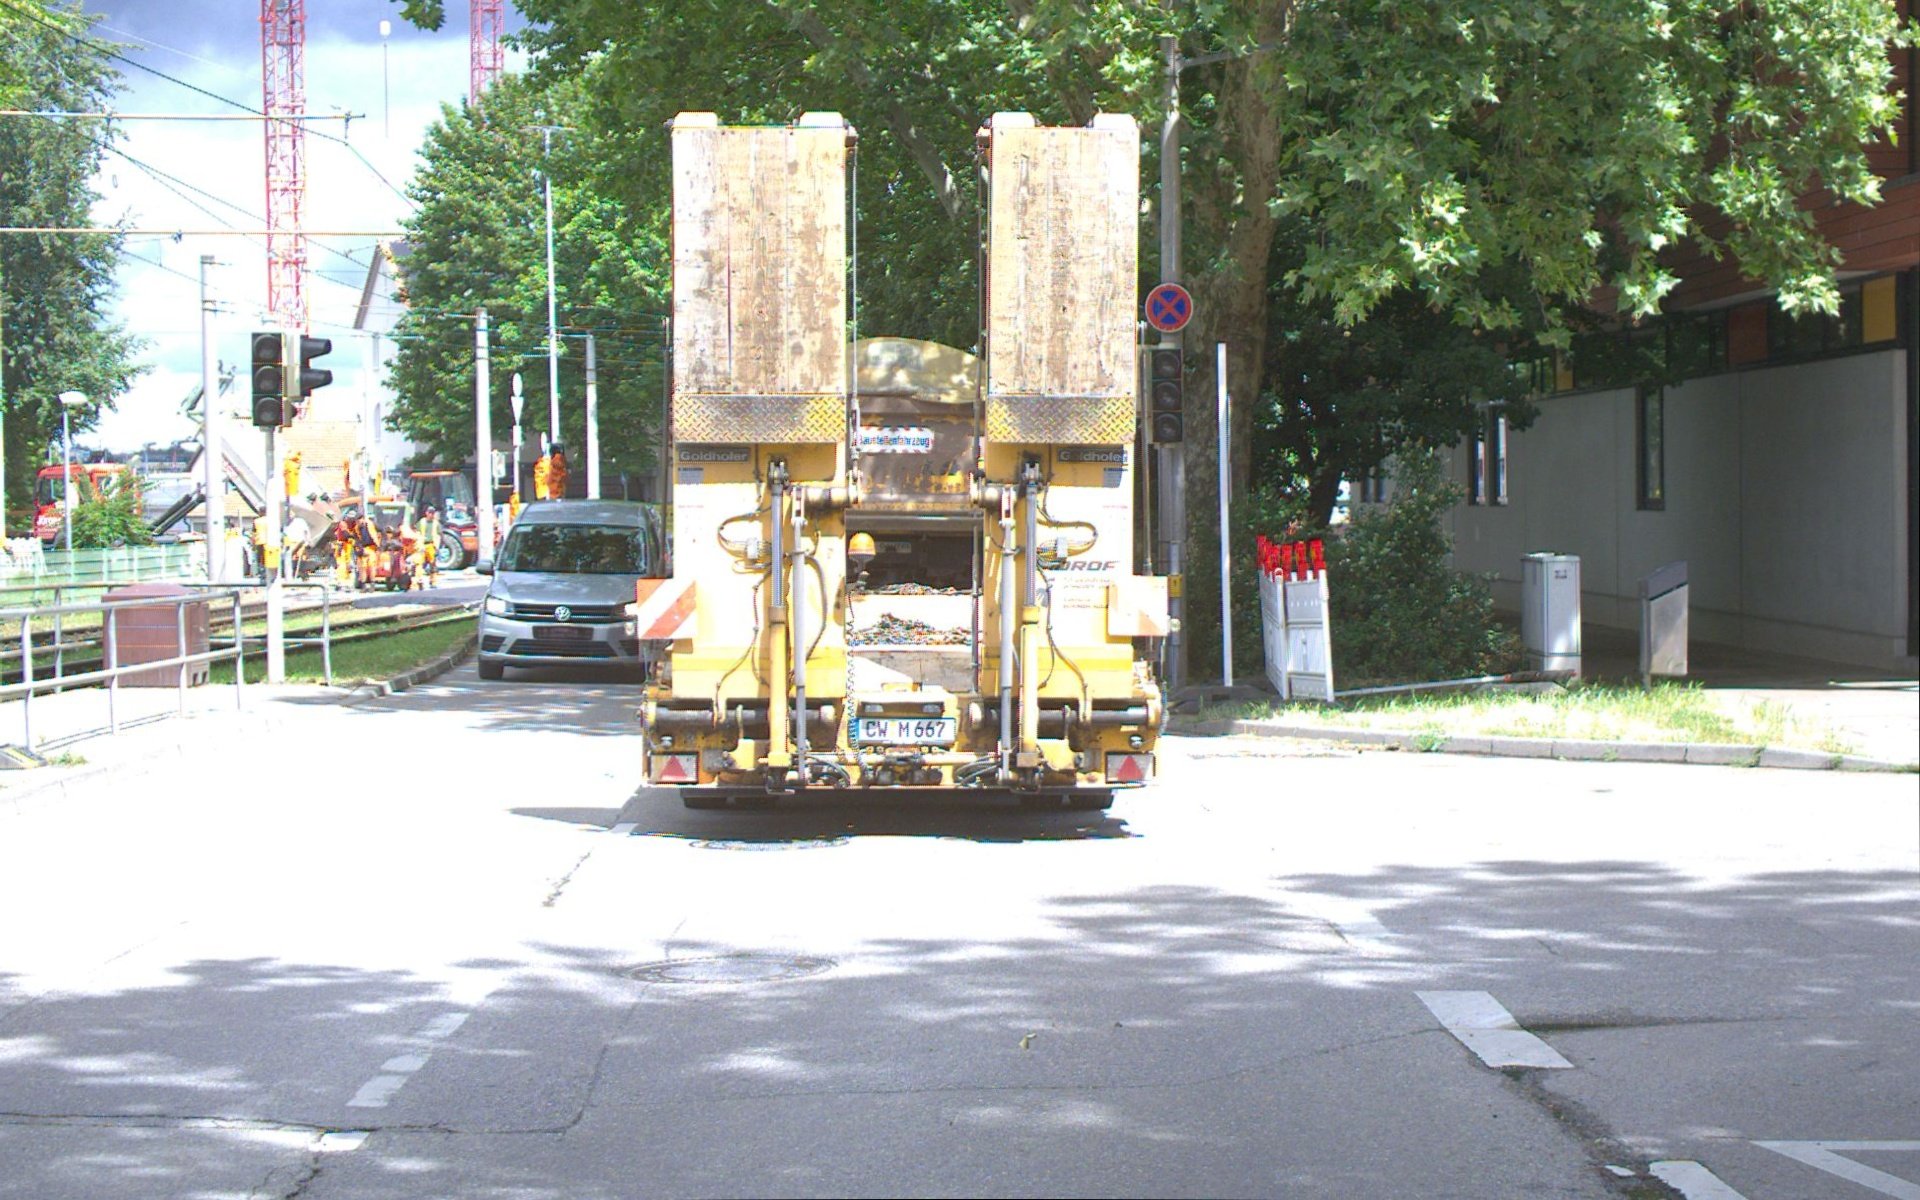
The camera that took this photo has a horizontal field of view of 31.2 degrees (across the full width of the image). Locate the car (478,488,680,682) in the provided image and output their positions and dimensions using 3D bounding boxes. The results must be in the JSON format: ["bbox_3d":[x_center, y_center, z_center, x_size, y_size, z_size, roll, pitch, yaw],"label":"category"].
[{"bbox_3d":[-3.861,-0.186,35.449,1.753,1.834,4.647,1,1,-3],"label":"car"}]

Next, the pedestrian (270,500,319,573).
[{"bbox_3d":[-15.144,-1.442,78.239,0.885,1.639,0.837,0,1,-29],"label":"pedestrian"}]

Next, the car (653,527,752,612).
[{"bbox_3d":[-4.471,-0.559,60.050,1.635,1.430,3.852,0,1,-3],"label":"car"}]

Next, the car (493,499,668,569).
[{"bbox_3d":[-11.624,-2.023,105.176,5.088,2.095,1.977,0,1,-15],"label":"car"}]

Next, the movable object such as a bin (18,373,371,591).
[{"bbox_3d":[-19.708,-3.014,88.317,9.215,5.396,2.660,1,1,26],"label":"movable object such as a bin"}]

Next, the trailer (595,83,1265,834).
[{"bbox_3d":[-0.362,-0.770,21.884,3.154,3.540,11.098,0,1,-2],"label":"trailer"}]

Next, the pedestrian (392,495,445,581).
[{"bbox_3d":[-11.770,-1.354,74.689,0.885,1.860,0.837,0,1,-29],"label":"pedestrian"}]

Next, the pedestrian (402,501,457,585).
[{"bbox_3d":[-11.952,-1.291,77.500,0.887,1.860,0.836,1,1,28],"label":"pedestrian"}]

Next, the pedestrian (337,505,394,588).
[{"bbox_3d":[-12.686,-1.137,73.379,0.886,1.754,0.836,1,1,19],"label":"pedestrian"}]

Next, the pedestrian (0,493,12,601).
[{"bbox_3d":[-15.532,-0.845,54.619,0.699,1.712,0.867,1,1,-1],"label":"pedestrian"}]

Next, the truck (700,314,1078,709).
[{"bbox_3d":[-0.705,-0.776,31.354,2.989,3.124,7.889,0,1,-2],"label":"truck"}]

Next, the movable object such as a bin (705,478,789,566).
[{"bbox_3d":[-4.955,-1.829,80.208,1.399,2.007,2.555,1,1,10],"label":"movable object such as a bin"}]

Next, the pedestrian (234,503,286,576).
[{"bbox_3d":[-15.857,-1.363,77.858,0.885,1.639,0.900,0,1,-31],"label":"pedestrian"}]

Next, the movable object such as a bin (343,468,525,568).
[{"bbox_3d":[-14.184,-2.211,92.653,4.373,2.620,2.217,1,1,26],"label":"movable object such as a bin"}]

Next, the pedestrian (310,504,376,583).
[{"bbox_3d":[-13.512,-1.242,75.300,0.888,1.709,1.108,2,2,45],"label":"pedestrian"}]

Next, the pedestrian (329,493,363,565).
[{"bbox_3d":[-15.926,-1.844,89.181,0.834,1.860,0.888,0,1,-12],"label":"pedestrian"}]
